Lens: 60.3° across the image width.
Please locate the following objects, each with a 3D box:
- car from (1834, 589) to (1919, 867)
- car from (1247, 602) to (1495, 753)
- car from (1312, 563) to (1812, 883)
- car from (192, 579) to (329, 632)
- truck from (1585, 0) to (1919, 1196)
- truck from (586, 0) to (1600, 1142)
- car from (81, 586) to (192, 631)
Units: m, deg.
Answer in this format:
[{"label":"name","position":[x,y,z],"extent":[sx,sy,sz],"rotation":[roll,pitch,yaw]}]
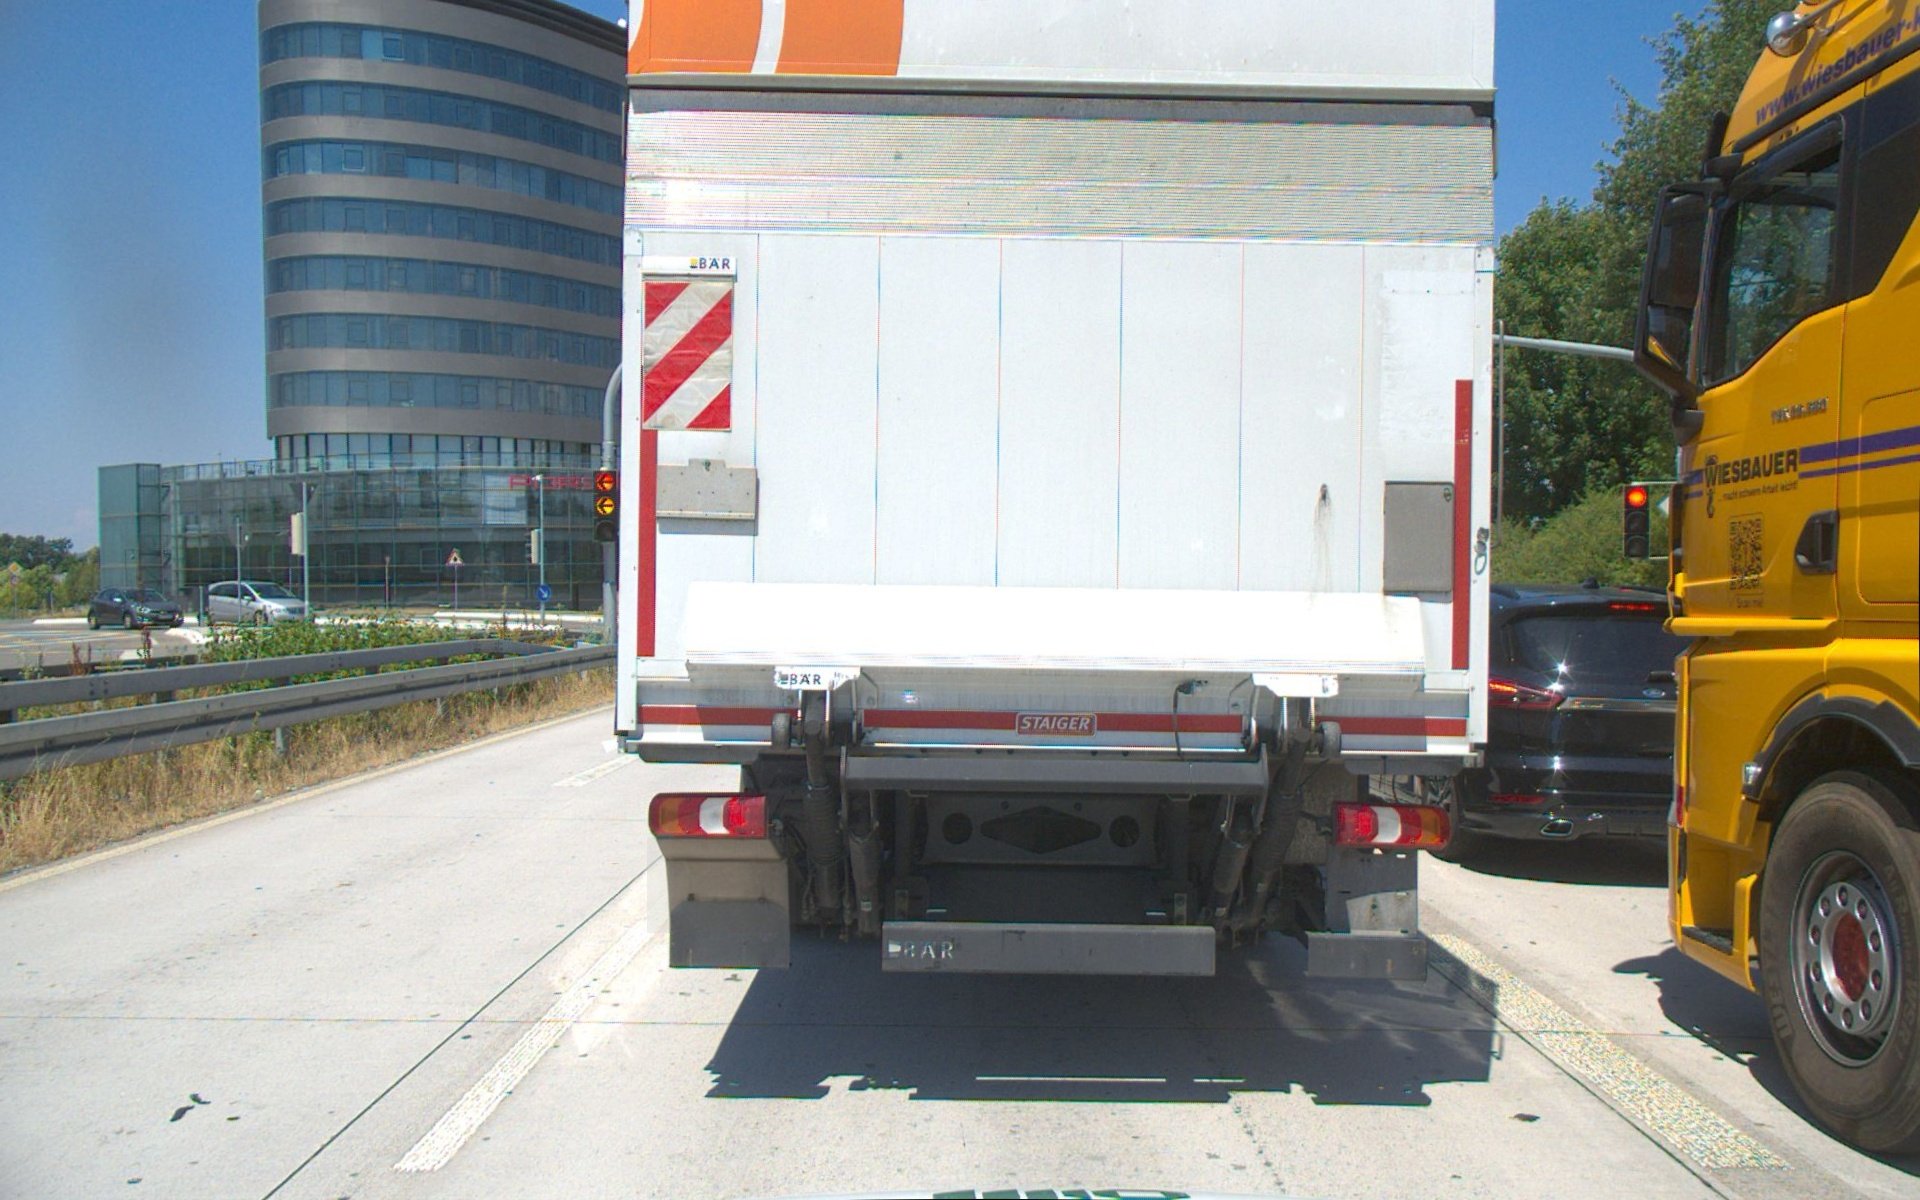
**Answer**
[{"label":"car","position":[7.330,0.856,9.584],"extent":[1.733,1.839,4.788],"rotation":[1,0,-4]},{"label":"car","position":[4.374,0.760,18.309],"extent":[1.731,1.435,4.611],"rotation":[1,0,2]},{"label":"car","position":[3.696,0.665,11.129],"extent":[1.747,1.668,4.648],"rotation":[1,0,1]},{"label":"car","position":[-22.656,0.202,53.574],"extent":[4.231,1.623,1.775],"rotation":[-1,-2,27]},{"label":"truck","position":[3.949,-0.414,2.466],"extent":[2.953,3.838,7.466],"rotation":[1,0,-2]},{"label":"truck","position":[0.313,-0.488,9.181],"extent":[2.713,3.927,9.368],"rotation":[1,0,-1]},{"label":"car","position":[-28.830,0.321,57.855],"extent":[4.241,1.482,1.691],"rotation":[-2,-2,35]}]
